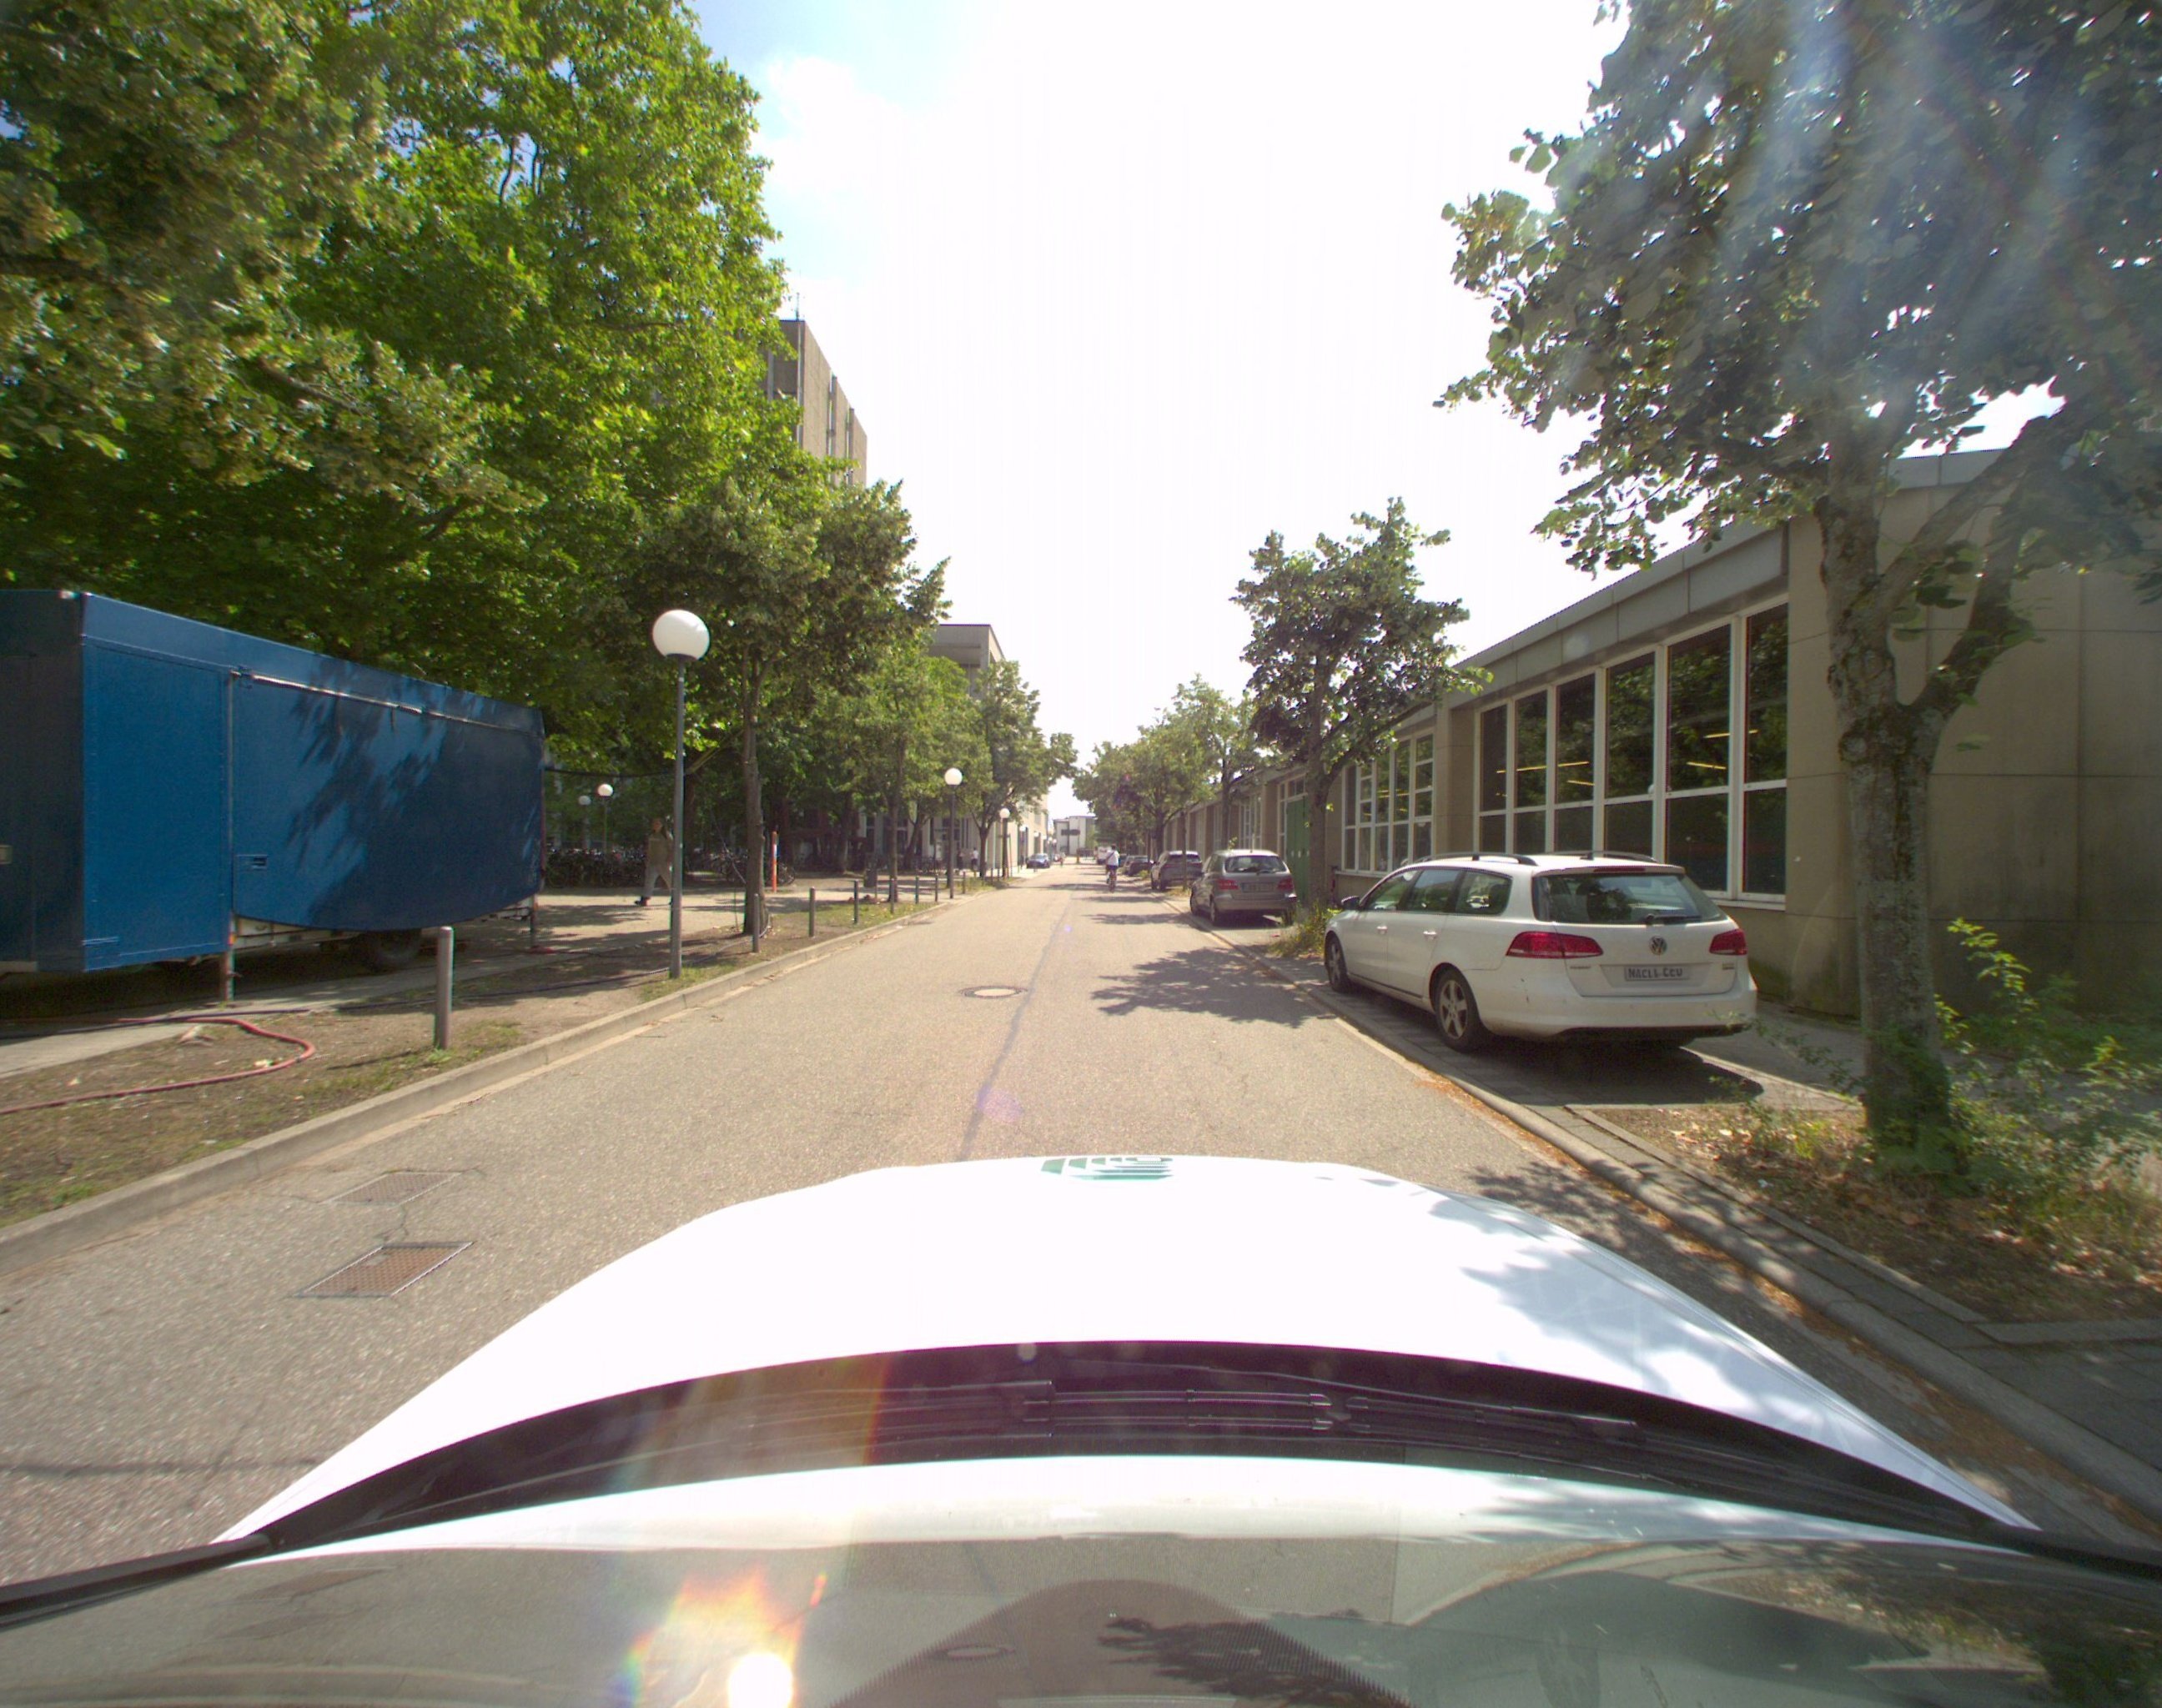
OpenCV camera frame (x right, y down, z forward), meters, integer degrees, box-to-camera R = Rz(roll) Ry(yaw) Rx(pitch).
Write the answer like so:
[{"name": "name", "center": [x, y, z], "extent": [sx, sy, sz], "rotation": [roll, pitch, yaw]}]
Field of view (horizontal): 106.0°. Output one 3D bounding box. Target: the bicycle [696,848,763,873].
[{"name": "bicycle", "center": [-17.375, 0.326, 40.297], "extent": [2.899, 1.178, 0.872], "rotation": [2, 0, -42]}]

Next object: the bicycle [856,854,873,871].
[{"name": "bicycle", "center": [-14.572, 0.565, 54.852], "extent": [0.550, 1.086, 1.973], "rotation": [3, 0, 1]}]

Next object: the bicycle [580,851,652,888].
[{"name": "bicycle", "center": [-14.558, 0.486, 25.528], "extent": [1.861, 1.089, 0.543], "rotation": [2, 0, -21]}]

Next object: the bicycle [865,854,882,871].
[{"name": "bicycle", "center": [-13.966, 0.571, 54.880], "extent": [0.550, 1.086, 1.973], "rotation": [3, 0, 1]}]

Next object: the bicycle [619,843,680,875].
[{"name": "bicycle", "center": [-17.152, 0.210, 32.374], "extent": [2.069, 1.234, 0.633], "rotation": [2, 0, -35]}]

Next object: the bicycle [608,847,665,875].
[{"name": "bicycle", "center": [-19.115, 0.292, 35.063], "extent": [2.069, 1.158, 0.633], "rotation": [2, 0, -35]}]

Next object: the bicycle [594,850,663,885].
[{"name": "bicycle", "center": [-14.740, 0.452, 26.592], "extent": [1.861, 1.089, 0.543], "rotation": [2, 0, -21]}]

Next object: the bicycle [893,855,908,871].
[{"name": "bicycle", "center": [-12.251, 0.602, 55.287], "extent": [0.550, 1.086, 1.973], "rotation": [3, 0, 1]}]

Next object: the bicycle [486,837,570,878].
[{"name": "bicycle", "center": [-16.413, 0.105, 24.193], "extent": [1.961, 1.125, 0.535], "rotation": [2, 0, -10]}]

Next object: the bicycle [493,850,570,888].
[{"name": "bicycle", "center": [-15.469, 0.419, 22.927], "extent": [1.795, 1.014, 0.538], "rotation": [2, 0, 2]}]

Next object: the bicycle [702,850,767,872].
[{"name": "bicycle", "center": [-16.729, 0.358, 39.339], "extent": [2.748, 1.003, 0.872], "rotation": [2, 0, -42]}]

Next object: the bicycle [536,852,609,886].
[{"name": "bicycle", "center": [-16.953, 0.506, 27.177], "extent": [1.966, 1.089, 0.534], "rotation": [2, 0, -17]}]

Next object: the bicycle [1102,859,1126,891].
[{"name": "bicycle", "center": [1.299, 0.818, 32.478], "extent": [0.879, 1.199, 2.749], "rotation": [1, 0, 1]}]

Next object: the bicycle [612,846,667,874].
[{"name": "bicycle", "center": [-18.414, 0.246, 33.996], "extent": [1.972, 1.089, 0.542], "rotation": [2, 0, -29]}]

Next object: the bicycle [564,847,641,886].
[{"name": "bicycle", "center": [-14.290, 0.380, 24.365], "extent": [1.861, 1.089, 0.543], "rotation": [2, 0, -21]}]

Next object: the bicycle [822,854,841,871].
[{"name": "bicycle", "center": [-16.764, 0.541, 54.740], "extent": [0.550, 1.086, 1.973], "rotation": [3, 0, 1]}]

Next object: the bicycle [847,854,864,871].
[{"name": "bicycle", "center": [-15.221, 0.563, 54.978], "extent": [0.550, 1.086, 1.973], "rotation": [3, 0, 1]}]

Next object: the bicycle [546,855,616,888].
[{"name": "bicycle", "center": [-17.301, 0.612, 28.213], "extent": [1.965, 1.089, 0.544], "rotation": [2, 0, -17]}]

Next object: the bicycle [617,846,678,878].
[{"name": "bicycle", "center": [-17.567, 0.338, 33.040], "extent": [2.069, 1.234, 0.633], "rotation": [3, 0, -35]}]

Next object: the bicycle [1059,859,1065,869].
[{"name": "bicycle", "center": [-2.224, 1.092, 93.660], "extent": [0.683, 1.130, 1.887], "rotation": [1, 0, -1]}]

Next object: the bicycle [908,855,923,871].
[{"name": "bicycle", "center": [-11.145, 0.601, 54.992], "extent": [0.550, 1.086, 1.973], "rotation": [3, 0, 1]}]

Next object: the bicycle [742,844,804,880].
[{"name": "bicycle", "center": [-11.524, 0.311, 30.526], "extent": [2.059, 1.234, 0.804], "rotation": [3, -1, -17]}]

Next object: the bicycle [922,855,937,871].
[{"name": "bicycle", "center": [-10.199, 0.603, 54.799], "extent": [0.550, 1.086, 1.973], "rotation": [3, 0, 1]}]

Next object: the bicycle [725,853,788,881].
[{"name": "bicycle", "center": [-12.514, 0.500, 31.449], "extent": [2.160, 1.008, 0.671], "rotation": [2, 0, -30]}]

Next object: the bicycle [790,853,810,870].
[{"name": "bicycle", "center": [-18.882, 0.522, 54.773], "extent": [0.550, 1.086, 1.973], "rotation": [3, 0, 1]}]

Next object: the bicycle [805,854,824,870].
[{"name": "bicycle", "center": [-17.949, 0.534, 54.869], "extent": [0.550, 1.086, 1.973], "rotation": [3, 0, 1]}]

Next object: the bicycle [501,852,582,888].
[{"name": "bicycle", "center": [-16.528, 0.484, 24.983], "extent": [1.961, 1.027, 0.535], "rotation": [2, 0, -10]}]

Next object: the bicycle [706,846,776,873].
[{"name": "bicycle", "center": [-16.100, 0.289, 38.660], "extent": [2.924, 1.220, 0.872], "rotation": [2, 0, -42]}]

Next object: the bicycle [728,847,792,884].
[{"name": "bicycle", "center": [-11.578, 0.411, 29.449], "extent": [2.059, 1.234, 0.804], "rotation": [2, 0, -17]}]

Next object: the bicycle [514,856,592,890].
[{"name": "bicycle", "center": [-16.646, 0.600, 25.706], "extent": [1.961, 1.027, 0.535], "rotation": [2, 0, -10]}]

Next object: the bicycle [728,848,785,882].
[{"name": "bicycle", "center": [-11.121, 0.373, 27.951], "extent": [1.777, 1.132, 0.456], "rotation": [2, 0, -18]}]
